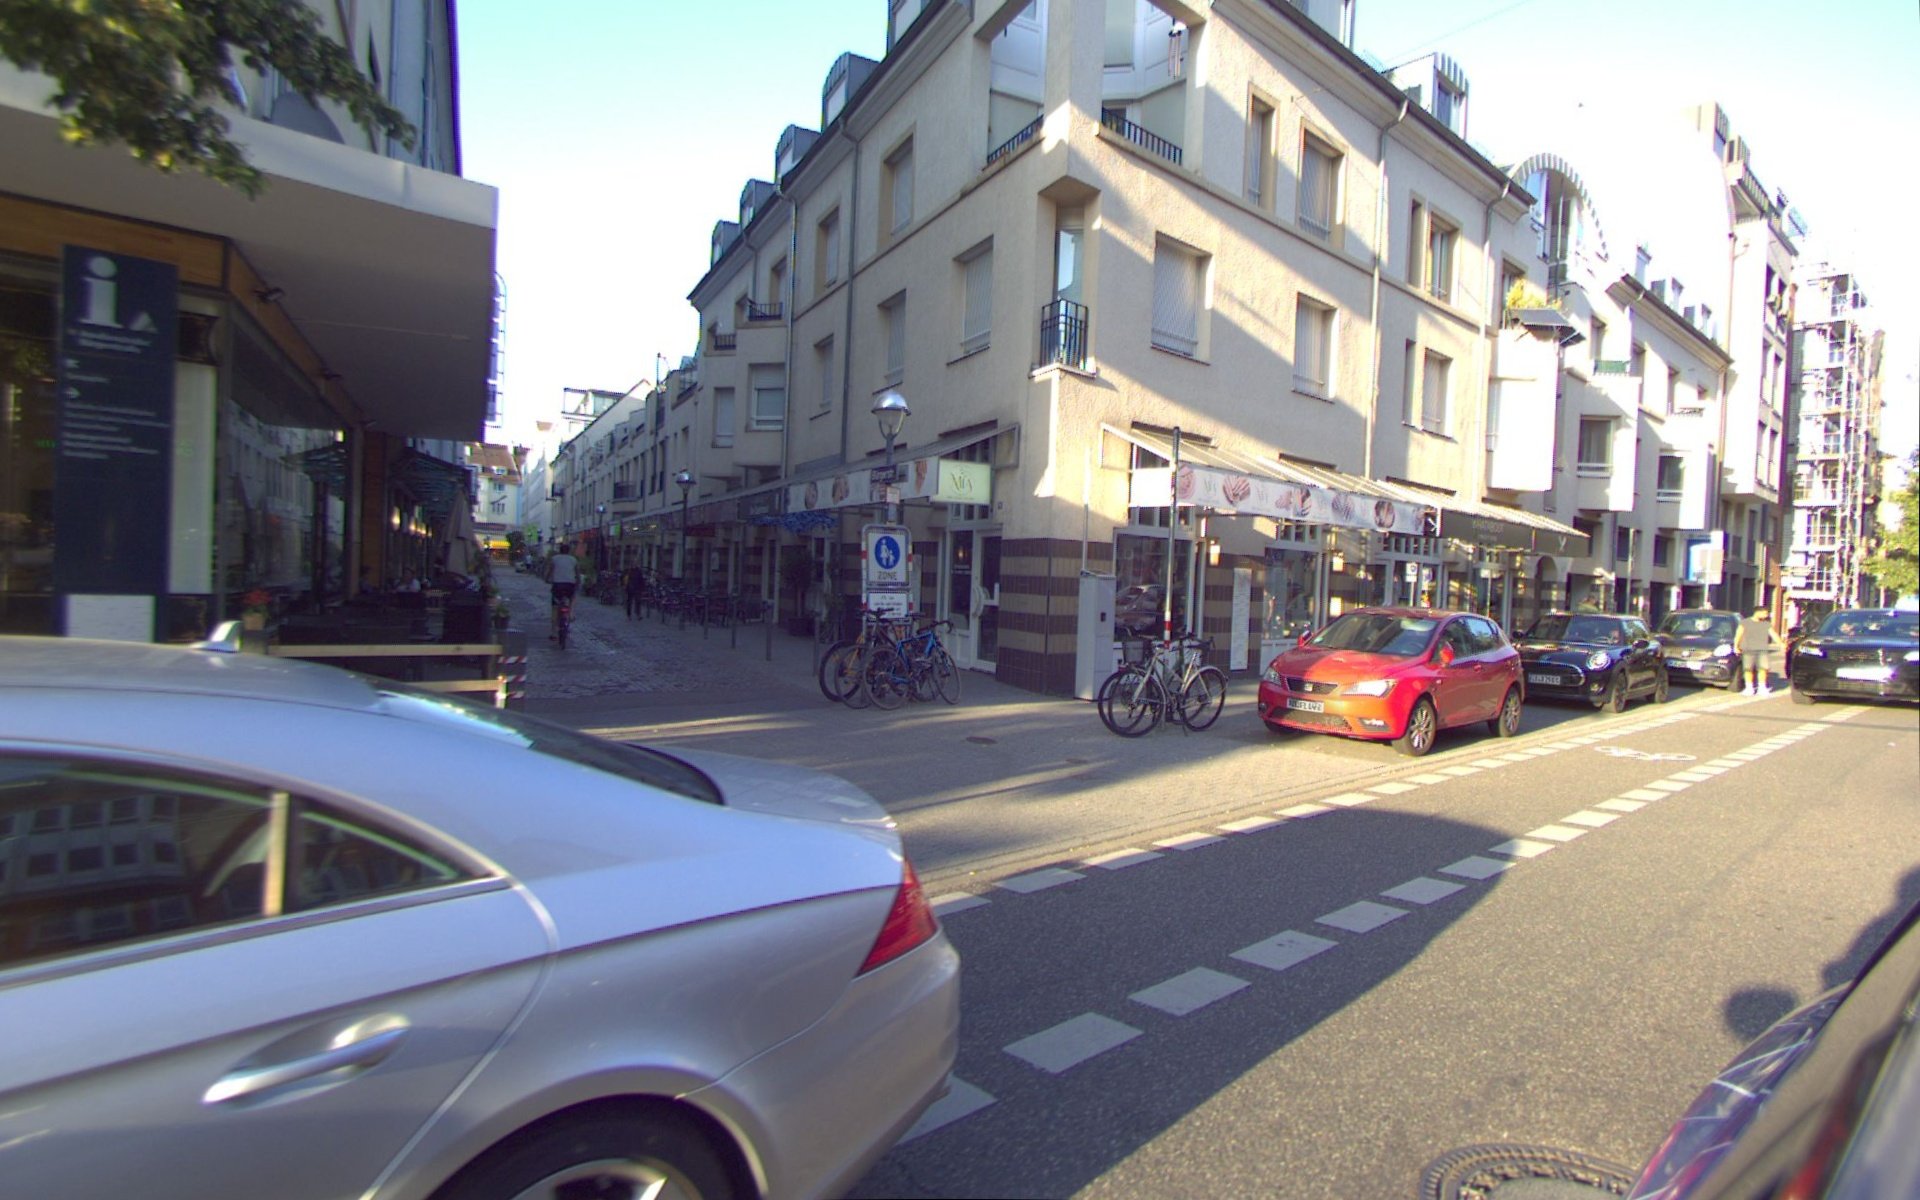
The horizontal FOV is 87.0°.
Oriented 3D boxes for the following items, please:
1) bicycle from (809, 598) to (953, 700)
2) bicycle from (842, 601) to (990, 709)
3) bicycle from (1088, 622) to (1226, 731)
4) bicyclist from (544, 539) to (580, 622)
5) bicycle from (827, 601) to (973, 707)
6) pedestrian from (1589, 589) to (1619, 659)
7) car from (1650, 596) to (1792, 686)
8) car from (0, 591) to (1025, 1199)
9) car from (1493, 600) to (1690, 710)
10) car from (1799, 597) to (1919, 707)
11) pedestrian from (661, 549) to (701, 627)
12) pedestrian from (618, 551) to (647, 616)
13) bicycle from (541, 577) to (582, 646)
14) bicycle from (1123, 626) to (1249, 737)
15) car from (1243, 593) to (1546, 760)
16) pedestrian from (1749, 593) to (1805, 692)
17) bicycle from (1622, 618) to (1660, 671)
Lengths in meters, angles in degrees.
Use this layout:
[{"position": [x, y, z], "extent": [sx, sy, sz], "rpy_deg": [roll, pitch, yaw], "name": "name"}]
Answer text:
[{"position": [-0.894, 0.541, 11.902], "extent": [1.847, 1.118, 0.321], "rpy_deg": [0, 2, -42], "name": "bicycle"}, {"position": [-0.457, 0.582, 11.337], "extent": [1.847, 1.118, 0.321], "rpy_deg": [0, 2, -42], "name": "bicycle"}, {"position": [2.151, 0.790, 10.896], "extent": [1.848, 1.059, 0.315], "rpy_deg": [0, 2, -39], "name": "bicycle"}, {"position": [-7.252, -0.362, 18.423], "extent": [0.453, 1.452, 0.720], "rpy_deg": [4, 0, -27], "name": "bicyclist"}, {"position": [-0.654, 0.580, 11.571], "extent": [1.855, 1.118, 0.291], "rpy_deg": [0, 2, -42], "name": "bicycle"}, {"position": [17.152, 0.625, 26.952], "extent": [0.442, 1.823, 0.576], "rpy_deg": [1, 0, -40], "name": "pedestrian"}, {"position": [15.710, 0.785, 20.829], "extent": [3.858, 1.612, 1.619], "rpy_deg": [1, 2, -43], "name": "car"}, {"position": [-2.116, 0.700, 1.371], "extent": [4.560, 1.418, 1.744], "rpy_deg": [0, 1, -43], "name": "car"}, {"position": [9.998, 0.779, 15.921], "extent": [3.858, 1.451, 1.619], "rpy_deg": [1, 2, -43], "name": "car"}, {"position": [15.953, 0.819, 17.290], "extent": [4.154, 1.656, 1.888], "rpy_deg": [1, 0, -42], "name": "car"}, {"position": [-6.294, -0.281, 22.870], "extent": [0.689, 1.696, 0.799], "rpy_deg": [2, 3, -6], "name": "pedestrian"}, {"position": [-8.672, -0.435, 26.791], "extent": [0.641, 1.675, 0.569], "rpy_deg": [2, 1, -23], "name": "pedestrian"}, {"position": [-7.302, 0.190, 18.502], "extent": [0.455, 1.161, 1.982], "rpy_deg": [4, 0, -27], "name": "bicycle"}, {"position": [2.407, 0.820, 10.664], "extent": [1.634, 1.059, 0.315], "rpy_deg": [0, 2, -39], "name": "bicycle"}, {"position": [4.928, 0.719, 11.237], "extent": [3.858, 1.451, 1.591], "rpy_deg": [1, 3, -43], "name": "car"}, {"position": [15.212, 0.766, 18.847], "extent": [0.658, 1.771, 0.630], "rpy_deg": [1, 2, -42], "name": "pedestrian"}, {"position": [14.970, 0.962, 22.234], "extent": [1.437, 1.099, 0.296], "rpy_deg": [0, 1, -41], "name": "bicycle"}]
